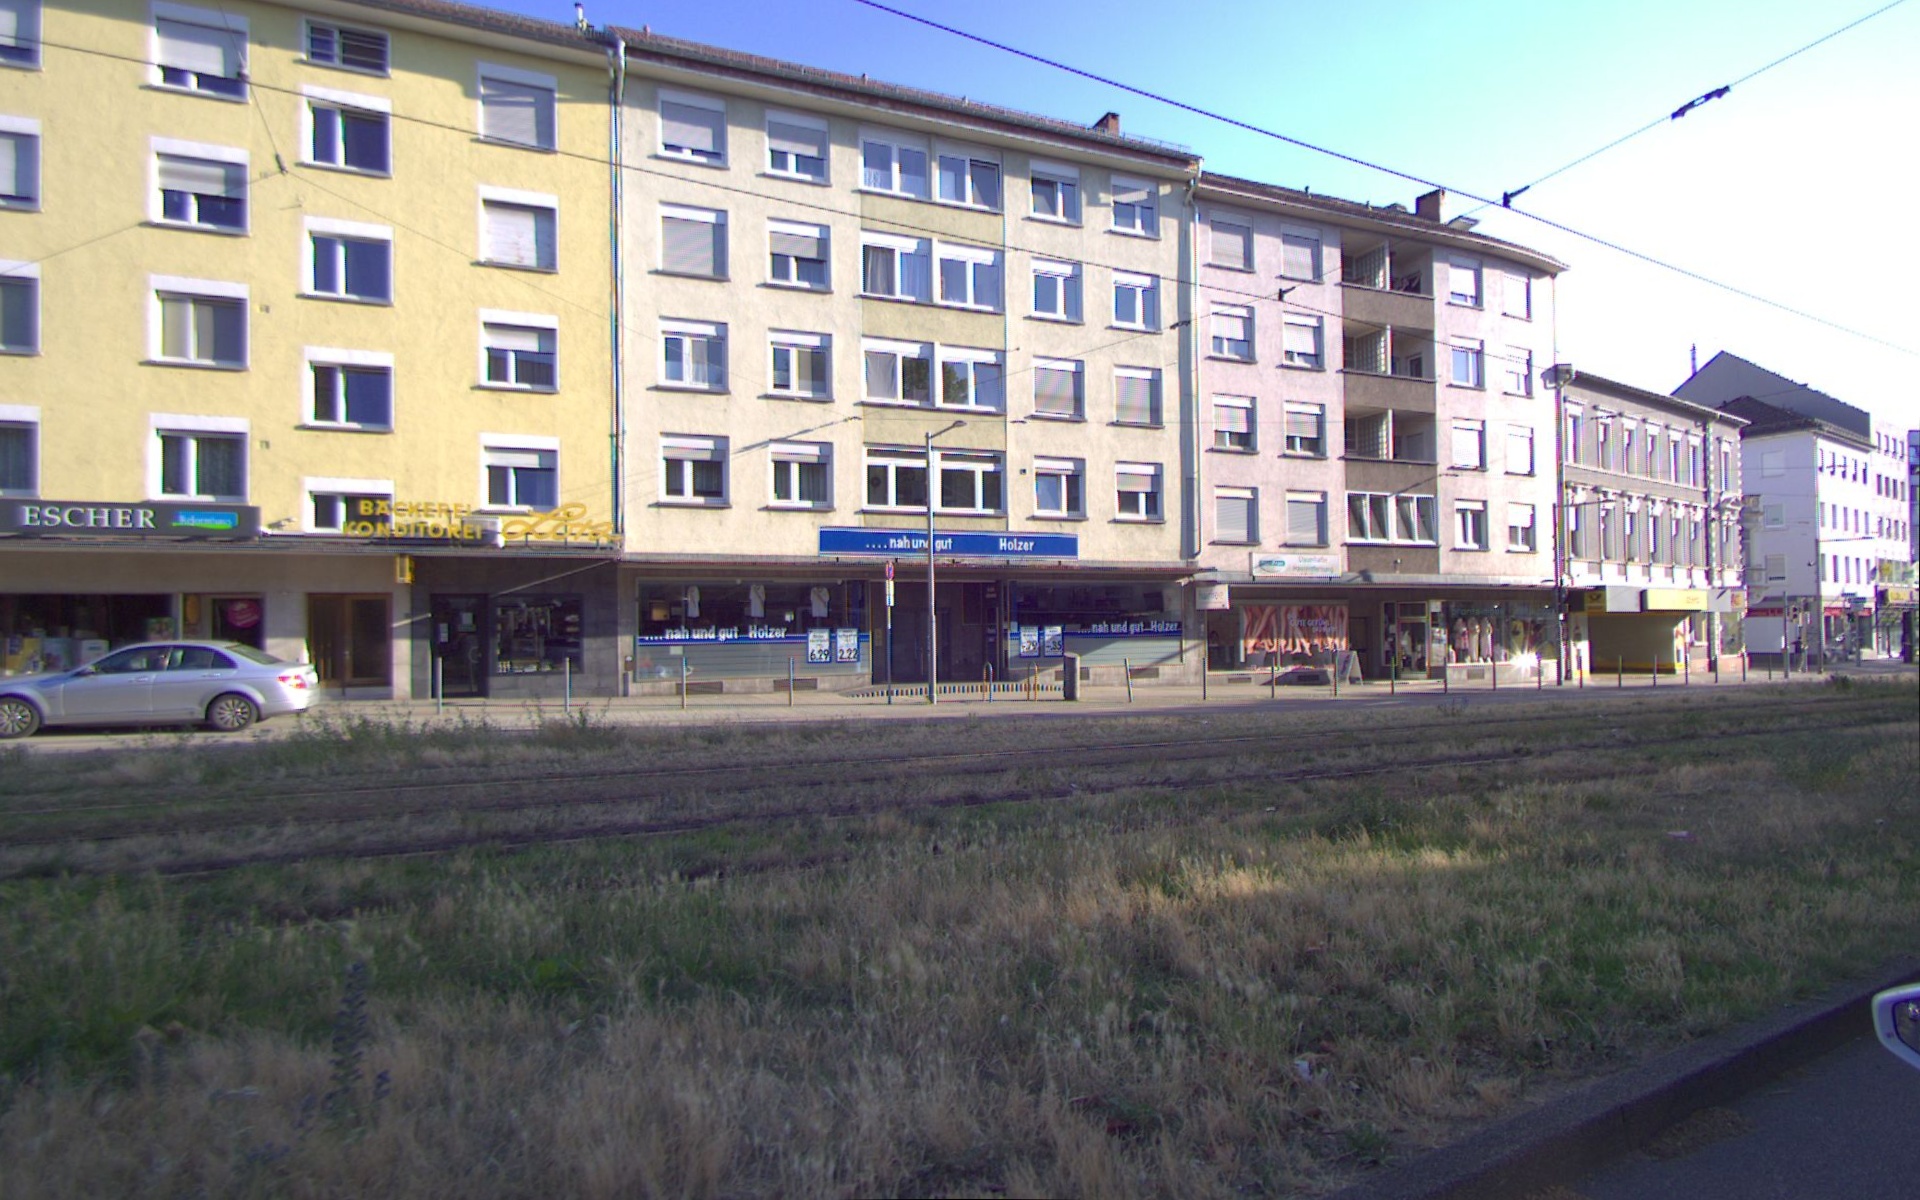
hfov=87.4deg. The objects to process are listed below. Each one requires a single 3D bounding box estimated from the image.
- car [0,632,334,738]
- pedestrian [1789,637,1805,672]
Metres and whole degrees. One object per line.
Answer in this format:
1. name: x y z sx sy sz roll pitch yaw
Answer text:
1. car: -13.042 1.322 16.592 4.353 1.498 1.987 1 0 -27
2. pedestrian: 41.956 2.726 50.368 0.501 1.736 0.424 1 -2 -26
